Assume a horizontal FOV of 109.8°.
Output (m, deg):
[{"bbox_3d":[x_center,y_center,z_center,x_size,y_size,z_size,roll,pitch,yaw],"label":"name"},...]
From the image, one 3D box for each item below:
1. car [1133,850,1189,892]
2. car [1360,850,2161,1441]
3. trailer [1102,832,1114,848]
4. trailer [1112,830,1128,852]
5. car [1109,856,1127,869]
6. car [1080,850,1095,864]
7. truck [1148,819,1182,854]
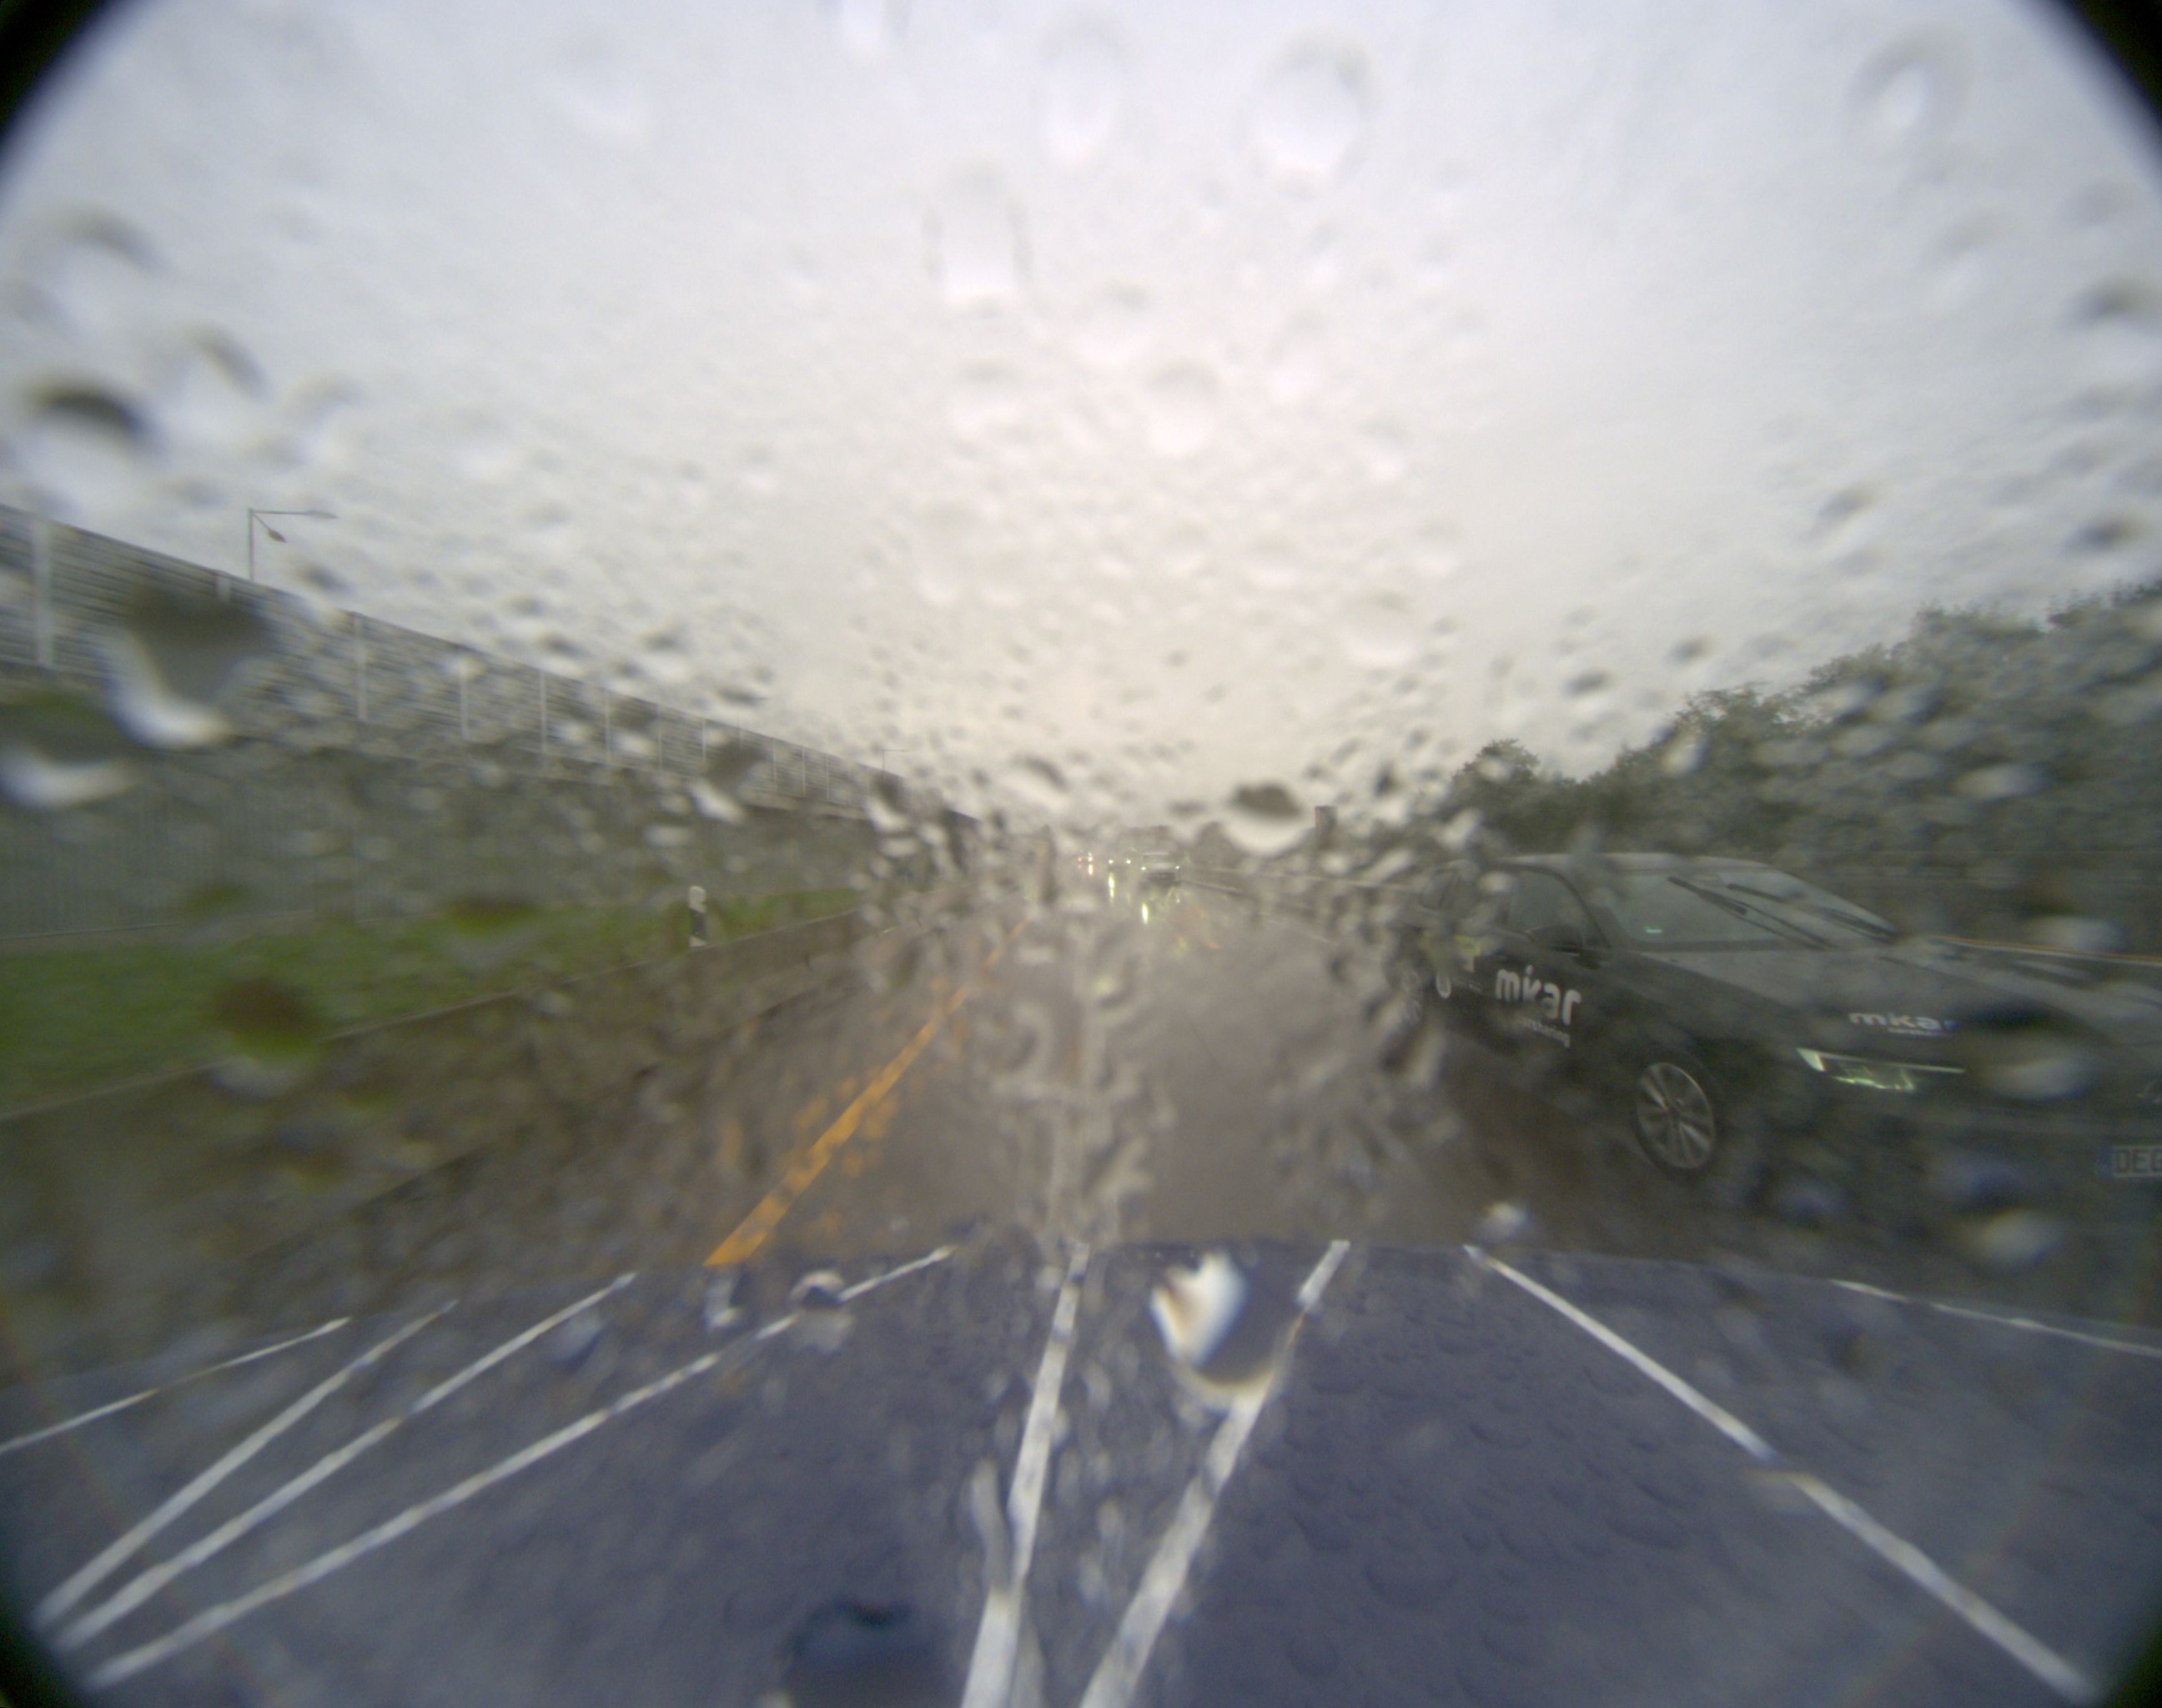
[{"bbox_3d":[3.622,0.742,35.065,1.972,1.671,3.998,-2,2,-2],"label":"car"},{"bbox_3d":[3.432,0.762,4.385,1.943,1.519,4.795,-1,1,1],"label":"car"},{"bbox_3d":[7.542,-3.972,212.573,2.491,4.418,11.191,-2,2,-1],"label":"trailer"},{"bbox_3d":[8.376,-2.897,164.435,2.554,4.563,12.005,-2,2,0],"label":"trailer"},{"bbox_3d":[3.209,0.713,66.499,1.335,1.105,3.198,1,0,-1],"label":"car"},{"bbox_3d":[0.879,0.385,106.203,1.999,1.762,3.998,-2,2,-1],"label":"car"},{"bbox_3d":[10.174,-2.150,92.940,3.012,4.143,9.828,0,2,0],"label":"truck"}]
